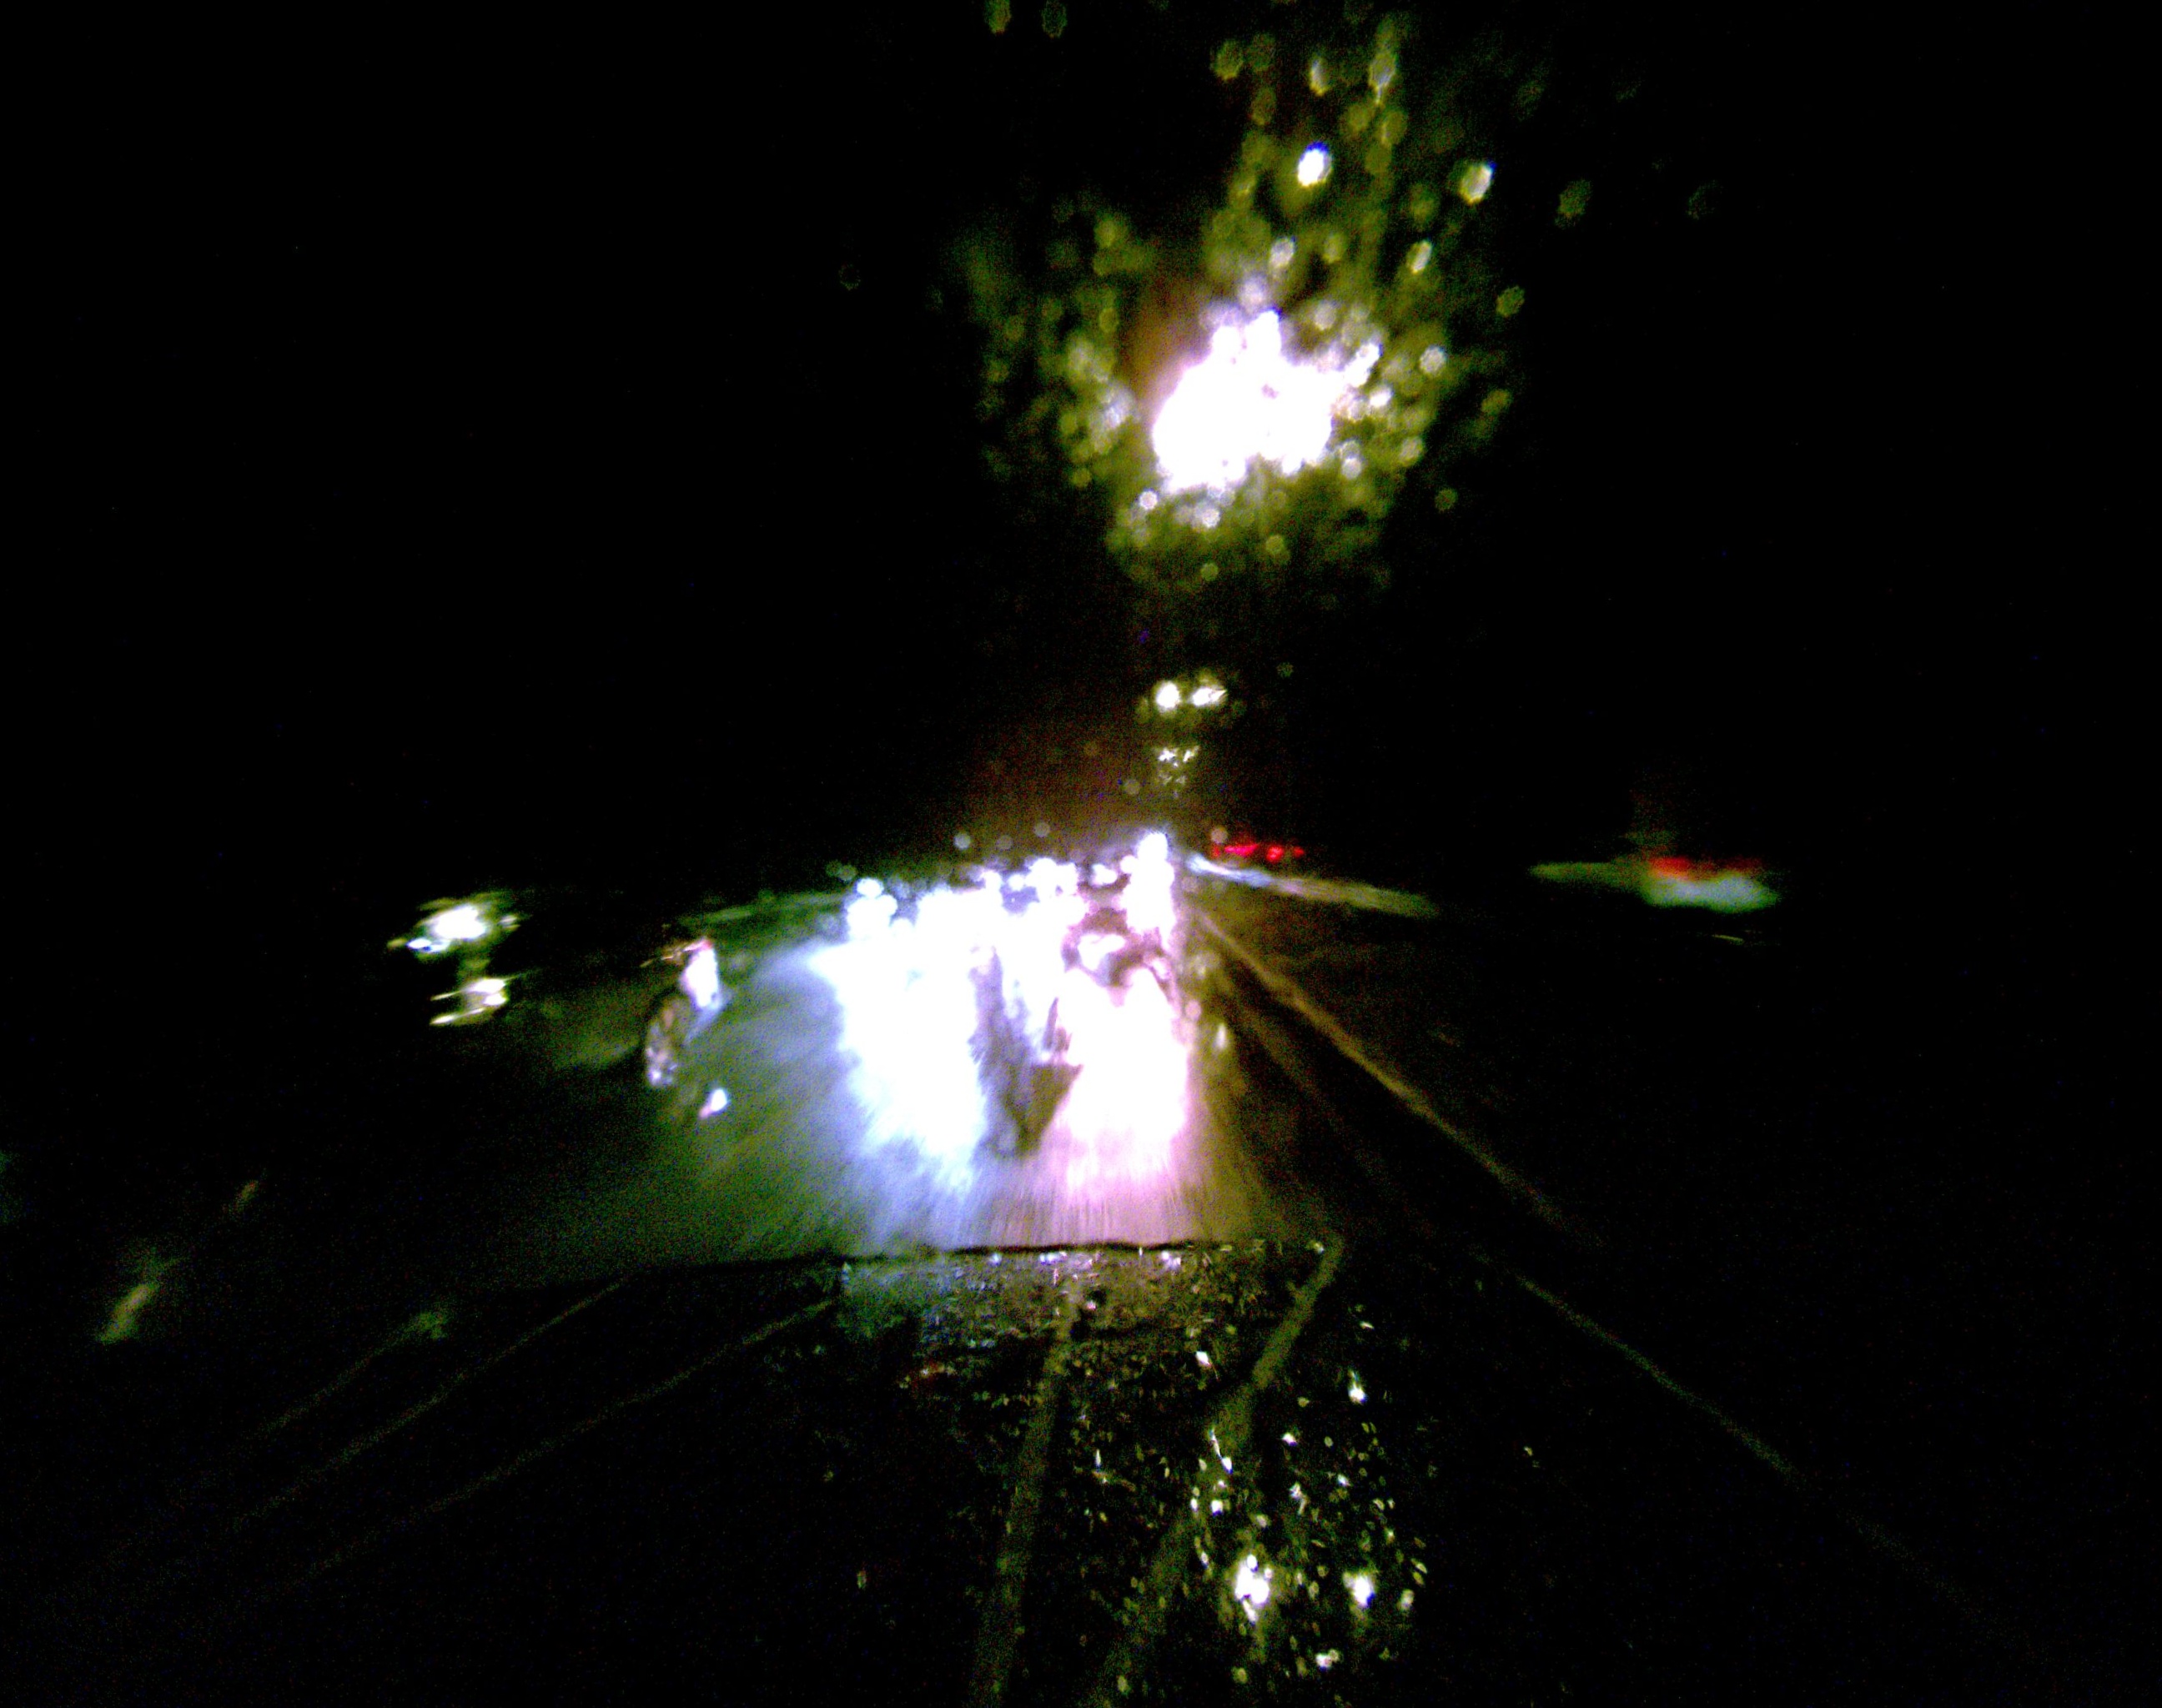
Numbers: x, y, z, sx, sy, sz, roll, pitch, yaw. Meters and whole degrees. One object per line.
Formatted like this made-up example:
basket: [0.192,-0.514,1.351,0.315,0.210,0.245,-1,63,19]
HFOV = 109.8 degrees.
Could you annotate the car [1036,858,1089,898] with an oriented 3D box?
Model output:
car: [-0.791,1.060,35.304,1.998,1.589,4.392,-2,1,4]

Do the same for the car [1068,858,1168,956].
car: [0.717,0.809,13.126,1.496,1.416,3.390,0,1,6]

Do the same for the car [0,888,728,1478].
car: [-3.818,1.079,3.700,1.676,1.497,4.561,-5,0,4]

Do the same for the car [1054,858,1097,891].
car: [-0.243,1.089,42.710,1.998,1.589,4.392,-2,1,4]

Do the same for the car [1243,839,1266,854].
car: [20.256,-0.917,88.907,1.998,1.499,4.841,-5,0,6]

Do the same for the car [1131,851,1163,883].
car: [4.679,0.890,54.560,1.998,2.002,4.000,-3,1,2]

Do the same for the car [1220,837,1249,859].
car: [12.339,-0.535,61.305,1.873,1.598,4.249,-2,1,7]

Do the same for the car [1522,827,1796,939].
car: [9.536,0.440,12.937,1.853,1.562,3.506,-2,0,-3]

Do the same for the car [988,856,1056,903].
car: [-2.074,0.862,27.908,1.742,1.409,4.140,-3,1,5]

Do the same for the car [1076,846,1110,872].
car: [0.870,0.301,52.241,1.998,1.589,4.392,-2,1,4]

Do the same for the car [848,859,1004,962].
car: [-2.817,0.964,14.897,1.710,1.513,4.415,-3,1,5]

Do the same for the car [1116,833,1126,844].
car: [8.060,-3.095,152.221,1.998,2.002,4.000,-2,1,4]

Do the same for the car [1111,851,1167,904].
car: [1.907,0.732,25.033,1.605,1.417,3.389,-5,1,4]

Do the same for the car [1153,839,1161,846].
car: [20.802,-3.152,207.609,1.997,1.669,4.001,-3,1,7]

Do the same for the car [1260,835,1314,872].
car: [10.674,-0.077,39.607,1.769,1.622,4.249,-2,3,3]
